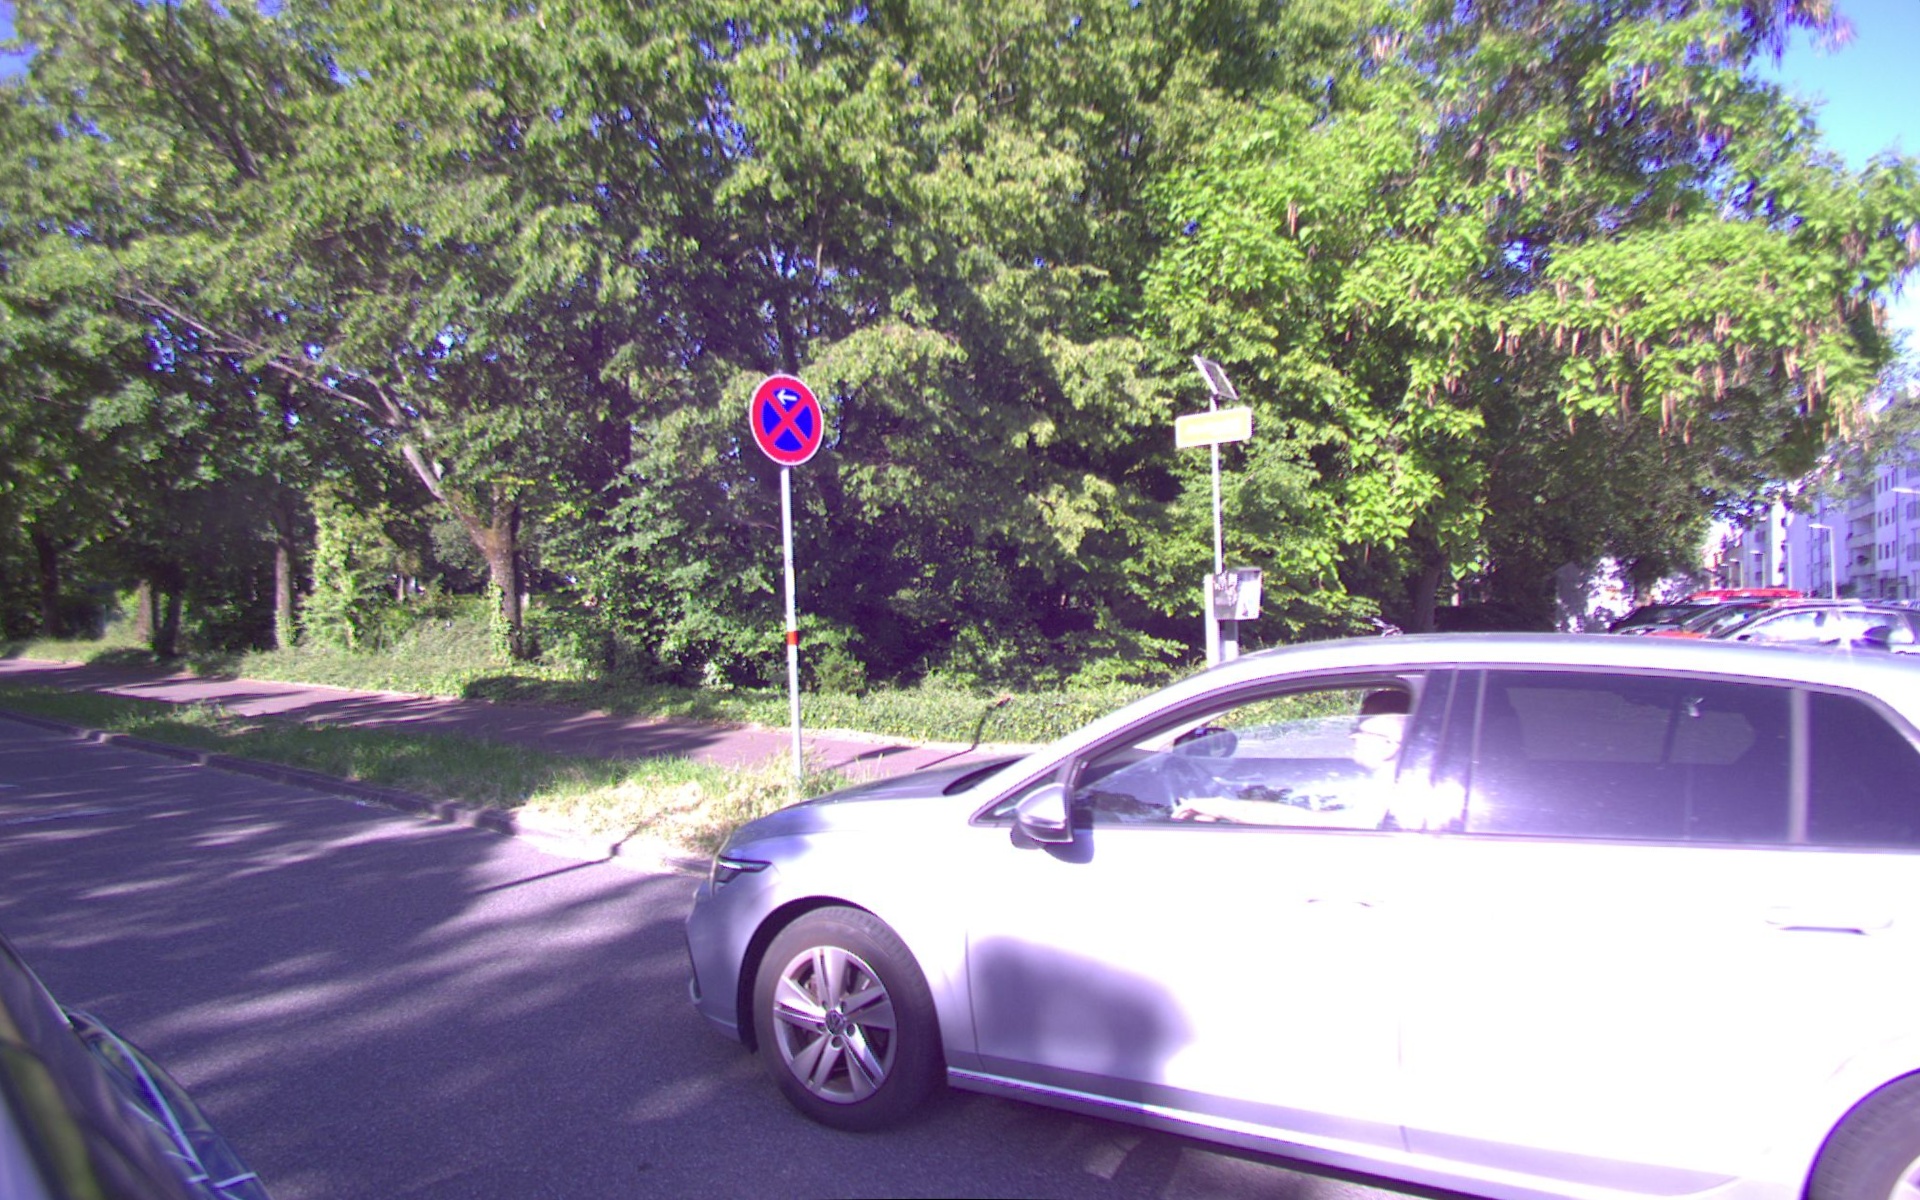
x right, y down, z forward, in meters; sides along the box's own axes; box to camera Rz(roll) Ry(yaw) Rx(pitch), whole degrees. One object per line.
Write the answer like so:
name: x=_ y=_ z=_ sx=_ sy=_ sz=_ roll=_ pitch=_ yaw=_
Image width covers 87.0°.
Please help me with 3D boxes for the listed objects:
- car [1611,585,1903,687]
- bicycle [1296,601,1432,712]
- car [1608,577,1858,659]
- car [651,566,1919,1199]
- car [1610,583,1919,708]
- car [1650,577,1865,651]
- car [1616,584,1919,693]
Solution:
car: x=13.784 y=0.552 z=17.820 sx=3.875 sy=1.615 sz=1.656 roll=1 pitch=0 yaw=34
bicycle: x=4.641 y=0.605 z=11.568 sx=0.761 sy=1.161 sz=1.878 roll=-2 pitch=-1 yaw=44
car: x=15.410 y=0.314 z=20.458 sx=3.875 sy=1.498 sz=1.656 roll=1 pitch=0 yaw=34
car: x=1.267 y=0.691 z=2.966 sx=4.167 sy=1.478 sz=1.652 roll=1 pitch=-1 yaw=27
car: x=10.979 y=0.536 z=13.495 sx=3.875 sy=1.498 sz=1.656 roll=1 pitch=0 yaw=34
car: x=21.034 y=0.325 z=26.935 sx=4.344 sy=1.821 sz=1.656 roll=1 pitch=0 yaw=34
car: x=12.416 y=0.516 z=15.579 sx=3.875 sy=1.498 sz=1.656 roll=1 pitch=0 yaw=34
